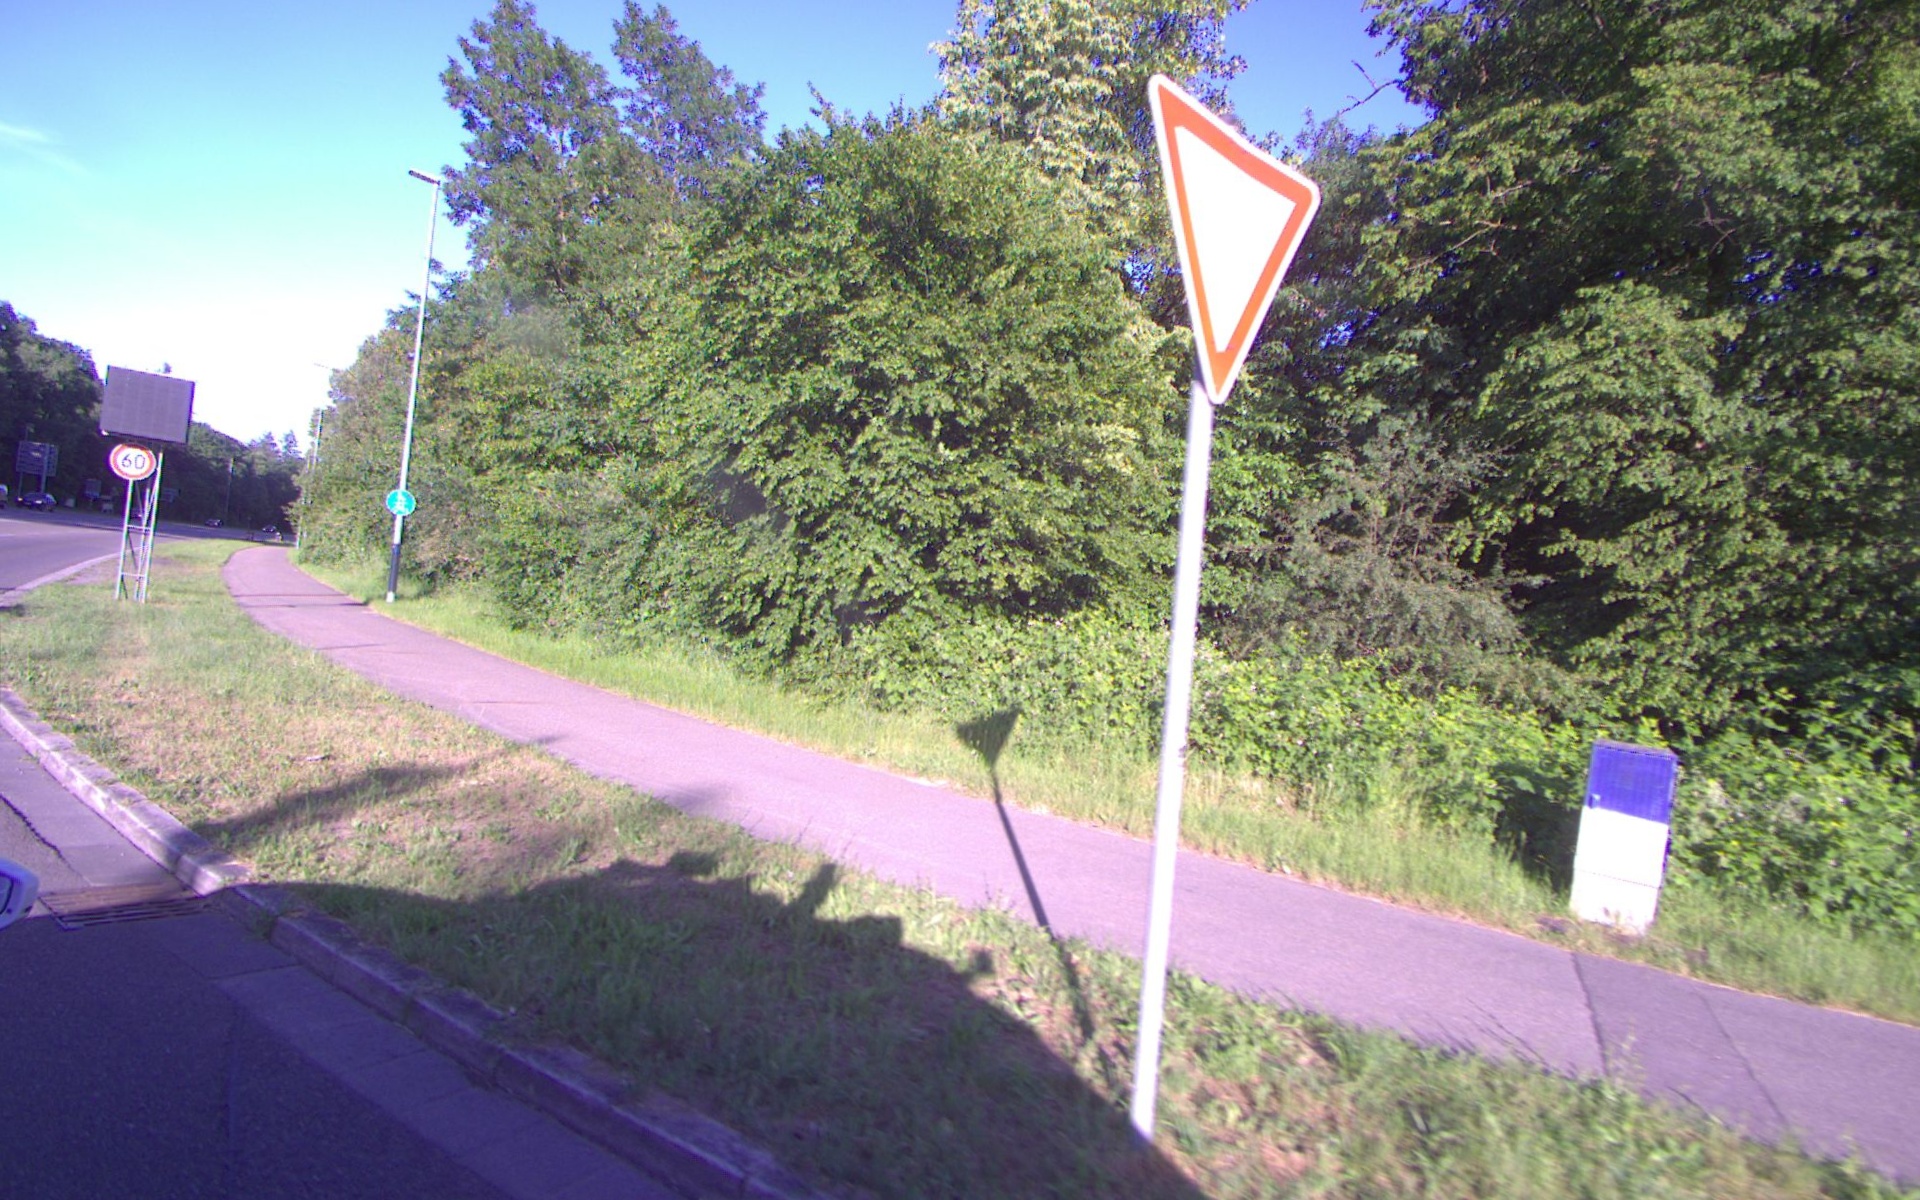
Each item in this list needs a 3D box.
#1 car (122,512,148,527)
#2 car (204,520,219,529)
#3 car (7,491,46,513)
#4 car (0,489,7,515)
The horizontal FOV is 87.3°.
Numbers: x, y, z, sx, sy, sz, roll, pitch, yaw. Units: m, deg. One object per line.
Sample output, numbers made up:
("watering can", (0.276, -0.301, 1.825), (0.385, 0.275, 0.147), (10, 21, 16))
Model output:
("car", (-105.112, -10.192, 128.182), (1.982, 1.583, 4.299), (8, -1, -34))
("car", (-127.697, -12.812, 171.678), (1.733, 1.249, 4.631), (8, -1, -34))
("car", (-88.039, -9.223, 94.952), (1.983, 1.656, 4.796), (8, -1, -36))
("car", (-75.845, -7.749, 78.106), (1.982, 1.986, 4.603), (6, 0, -36))
